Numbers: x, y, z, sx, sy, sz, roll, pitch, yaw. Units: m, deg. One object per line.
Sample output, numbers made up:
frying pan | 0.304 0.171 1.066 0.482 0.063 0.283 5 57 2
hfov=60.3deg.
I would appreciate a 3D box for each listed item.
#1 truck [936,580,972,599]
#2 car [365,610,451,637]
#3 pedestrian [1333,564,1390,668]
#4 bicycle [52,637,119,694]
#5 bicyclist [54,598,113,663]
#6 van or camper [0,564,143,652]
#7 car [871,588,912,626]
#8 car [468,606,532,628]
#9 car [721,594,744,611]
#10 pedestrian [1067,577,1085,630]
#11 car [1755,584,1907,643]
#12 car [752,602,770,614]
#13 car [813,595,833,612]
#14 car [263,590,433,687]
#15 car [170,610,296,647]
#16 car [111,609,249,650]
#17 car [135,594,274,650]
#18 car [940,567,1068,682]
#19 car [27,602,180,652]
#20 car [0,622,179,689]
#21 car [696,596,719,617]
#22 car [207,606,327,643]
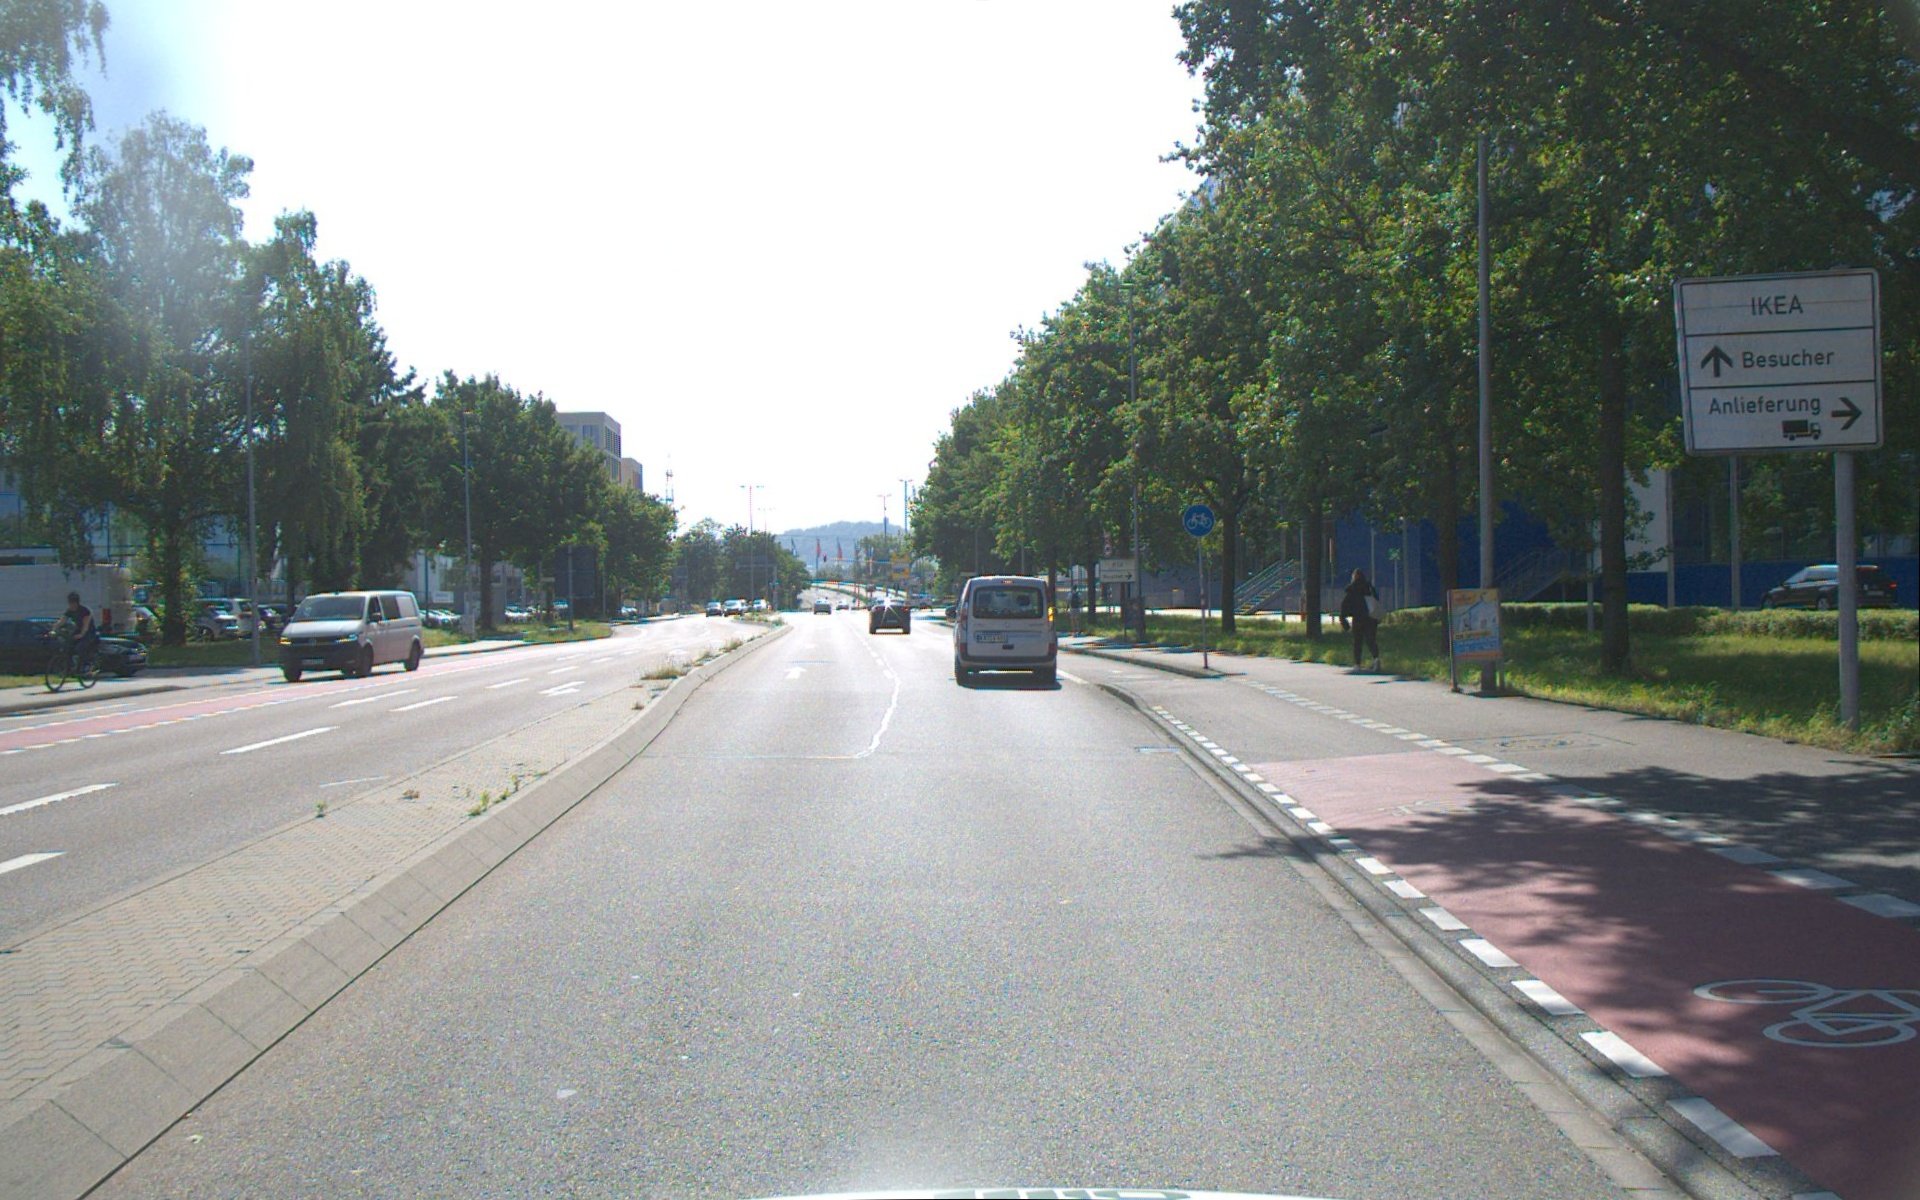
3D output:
truck | -0.807 -1.398 219.619 4.783 2.466 1.999 1 1 -3
car | -31.348 1.314 94.037 4.180 1.374 1.953 -2 0 -2
pedestrian | 6.467 0.251 26.658 0.634 1.631 0.846 -2 0 -3
bicycle | -17.360 1.290 32.864 0.437 1.045 1.615 -2 0 0
bicyclist | -17.370 0.596 32.794 0.620 1.249 0.950 -2 0 0
van or camper | -27.486 0.205 49.255 5.275 2.513 1.998 1 1 -7
car | -3.161 0.312 77.332 1.770 1.668 4.458 -2 0 -1
car | -32.711 1.197 117.696 3.962 1.400 2.023 -2 0 -4
car | -22.390 0.267 162.998 1.805 1.489 4.996 -4 0 -4
pedestrian | 4.176 0.116 59.484 0.524 1.874 0.727 -1 0 -4
car | 24.914 0.371 47.509 1.867 1.547 4.371 -2 0 -3
car | -25.734 1.074 214.433 1.778 1.489 4.000 -2 0 0
car | -14.355 0.378 173.424 1.954 1.713 3.997 -2 0 -3
car | -14.435 0.838 39.373 1.953 2.049 5.347 -2 0 0
car | -29.151 1.131 66.430 4.180 1.351 1.953 -2 0 -2
car | -27.591 1.027 58.560 4.005 1.316 1.743 -2 0 -2
car | -27.868 0.784 61.072 4.180 1.917 1.953 -2 0 -2
car | 0.707 0.403 29.537 1.868 1.861 4.177 -2 0 -4
car | -27.651 0.869 53.467 4.002 1.464 1.744 -2 0 1
car | -21.606 1.335 39.866 4.569 1.438 2.000 -2 0 2
car | -25.994 0.680 170.282 1.954 2.048 3.998 1 1 -3
car | -29.026 1.034 69.336 4.180 1.405 1.953 -2 0 -2
